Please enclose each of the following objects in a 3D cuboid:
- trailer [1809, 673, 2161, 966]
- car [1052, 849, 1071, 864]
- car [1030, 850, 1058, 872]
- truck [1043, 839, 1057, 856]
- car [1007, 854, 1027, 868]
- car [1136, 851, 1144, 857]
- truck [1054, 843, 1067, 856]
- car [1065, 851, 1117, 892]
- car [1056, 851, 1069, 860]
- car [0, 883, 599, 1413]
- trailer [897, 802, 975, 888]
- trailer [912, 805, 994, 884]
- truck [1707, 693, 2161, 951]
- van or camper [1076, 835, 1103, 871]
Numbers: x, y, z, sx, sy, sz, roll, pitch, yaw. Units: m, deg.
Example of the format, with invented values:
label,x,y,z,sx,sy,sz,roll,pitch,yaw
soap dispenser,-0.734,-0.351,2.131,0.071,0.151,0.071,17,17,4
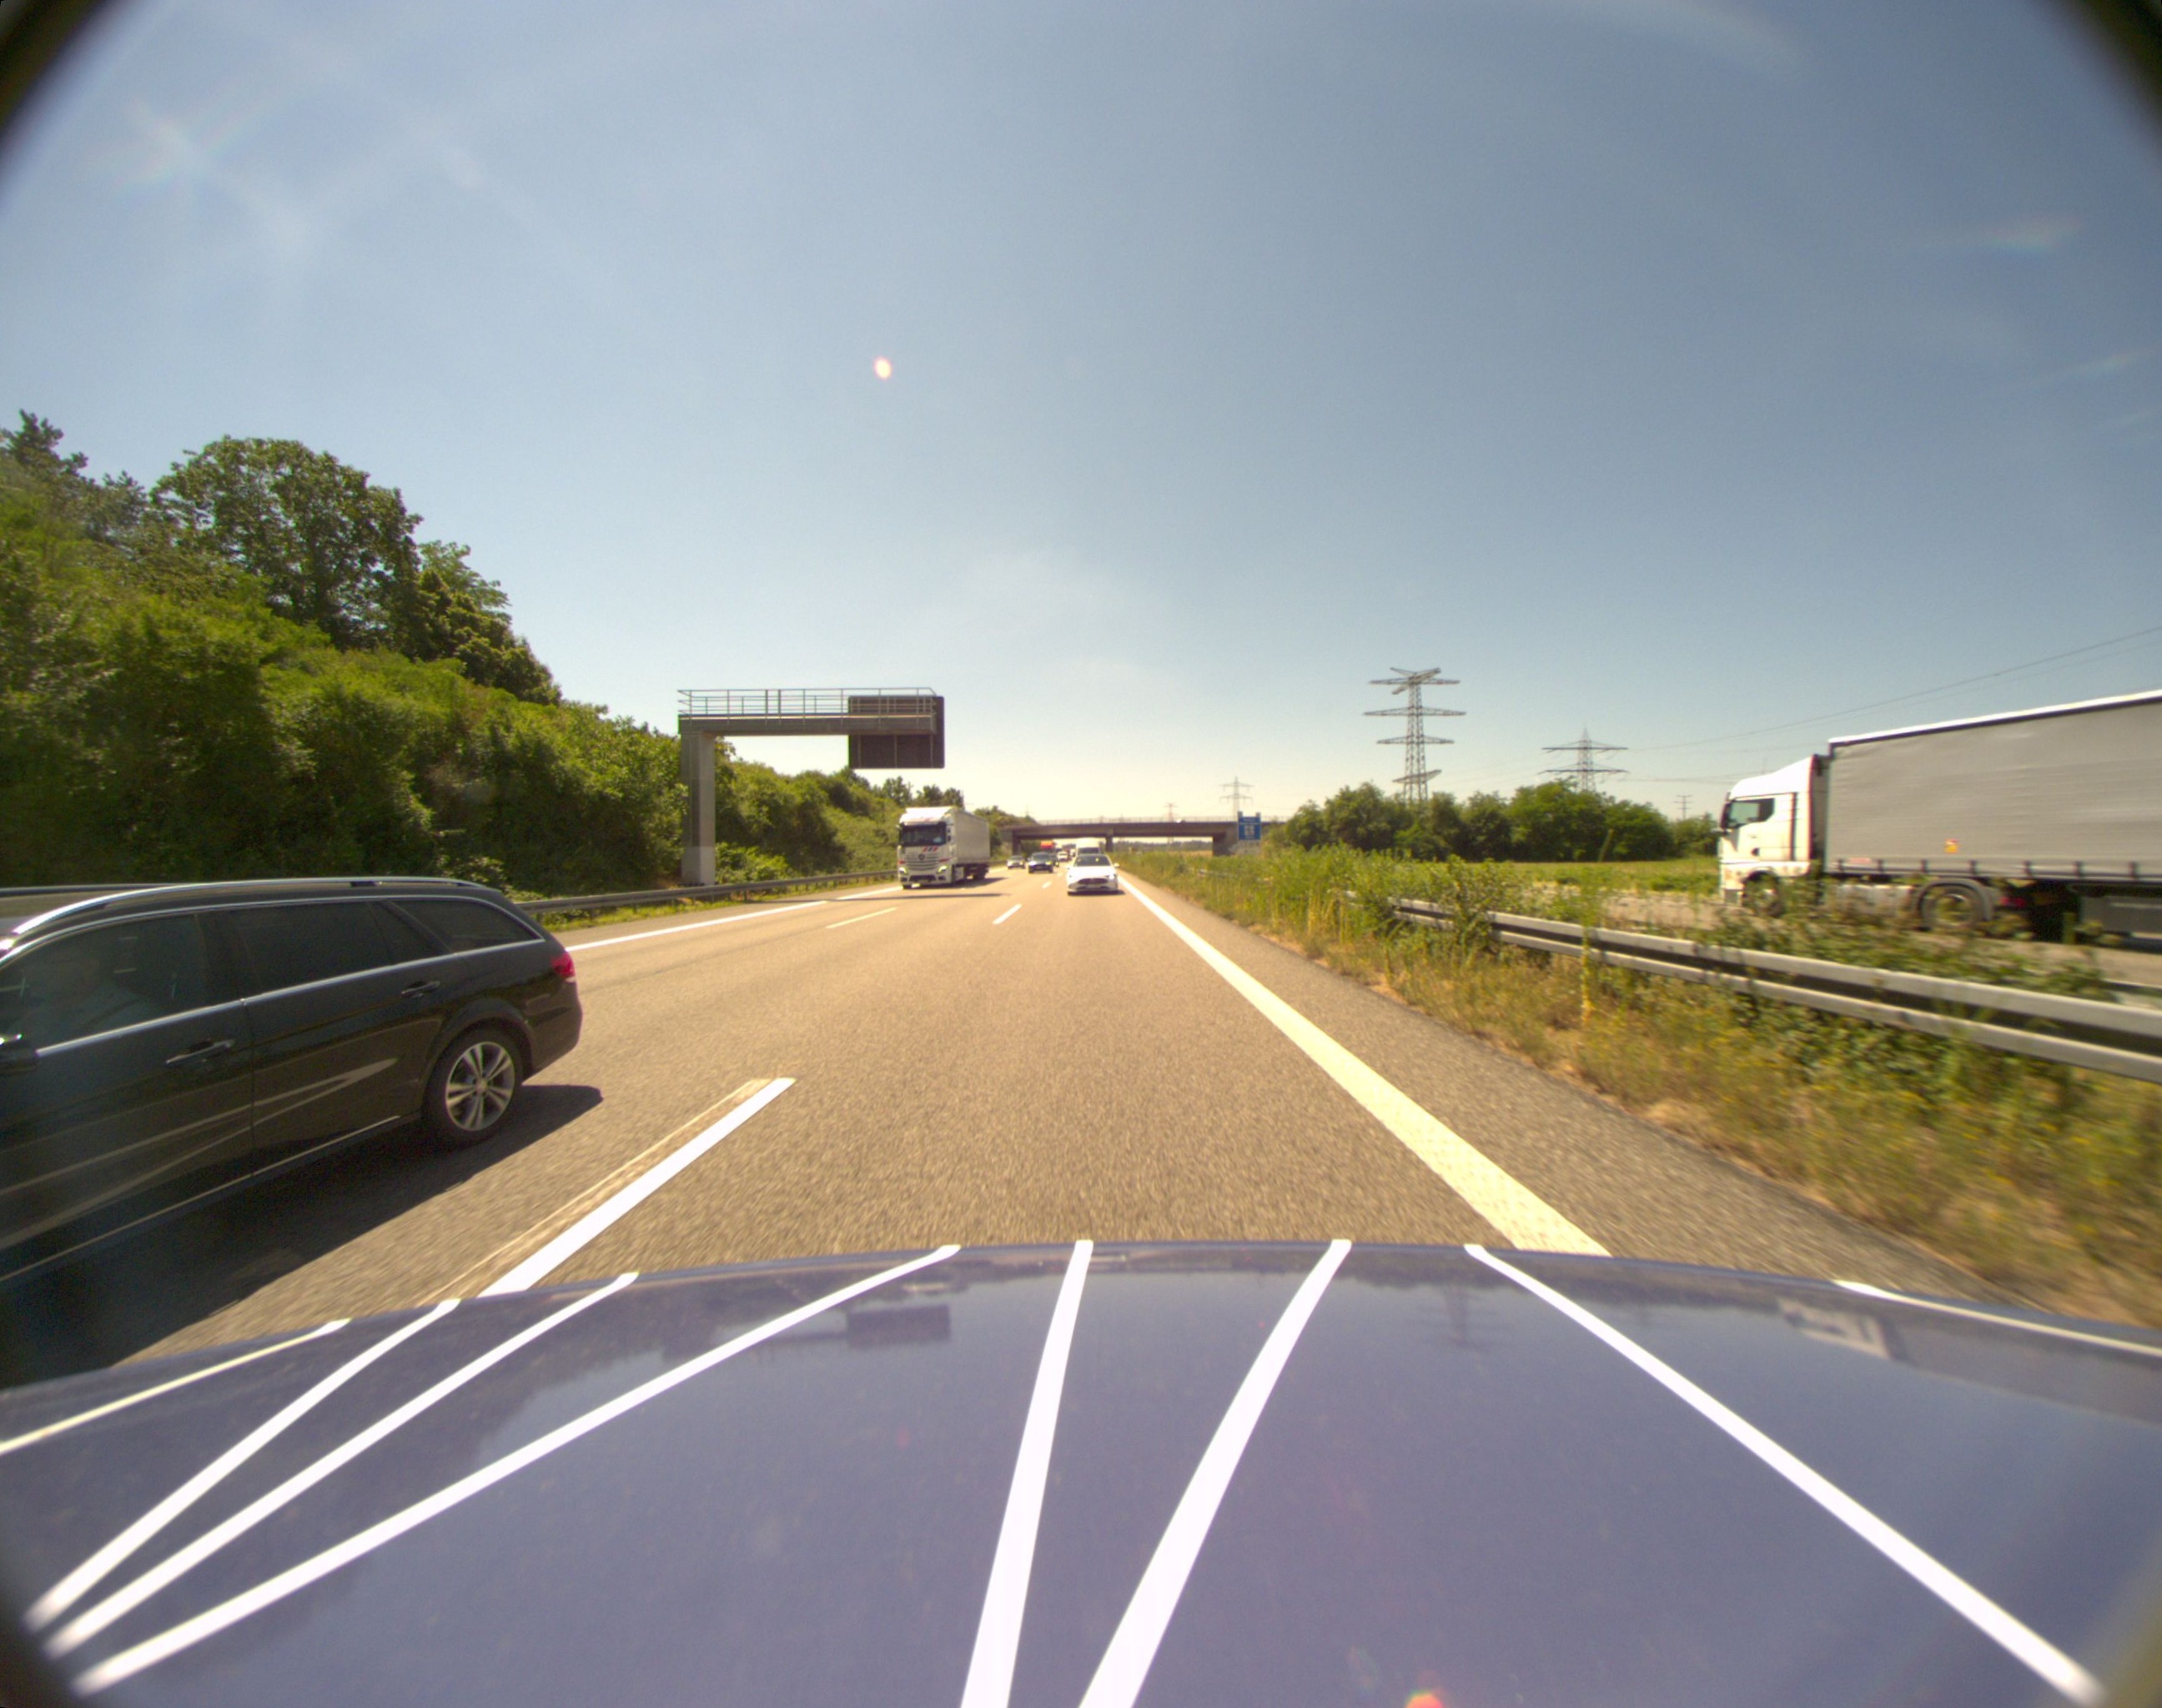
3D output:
label,x,y,z,sx,sy,sz,roll,pitch,yaw
trailer,17.850,-0.470,9.650,3.376,4.383,14.318,1,0,0
car,-2.194,0.274,85.655,1.984,1.671,4.558,0,0,0
car,-2.975,0.507,61.850,1.984,1.671,4.558,-1,0,0
truck,-6.267,-1.354,154.386,2.582,3.204,5.712,-3,1,-1
car,-7.021,0.771,83.558,1.840,1.403,4.558,-2,0,0
car,15.204,-0.031,196.620,1.846,1.642,4.013,-2,0,0
truck,-5.994,-1.385,222.556,3.507,3.891,9.645,-1,1,-1
car,0.393,0.677,31.878,1.984,1.525,4.558,-2,0,0
car,-3.119,0.289,129.230,1.984,1.525,4.137,-1,0,0
car,-4.262,0.998,2.783,1.846,1.497,4.737,-2,1,1
trailer,-7.433,-0.461,39.827,2.720,4.079,6.788,-1,1,0
trailer,-7.454,-0.547,46.405,2.735,4.079,13.187,-1,0,0
truck,17.878,-0.556,16.305,3.376,4.383,6.555,1,1,0
van or camper,0.763,-0.105,61.950,1.998,2.740,5.410,-2,0,2
